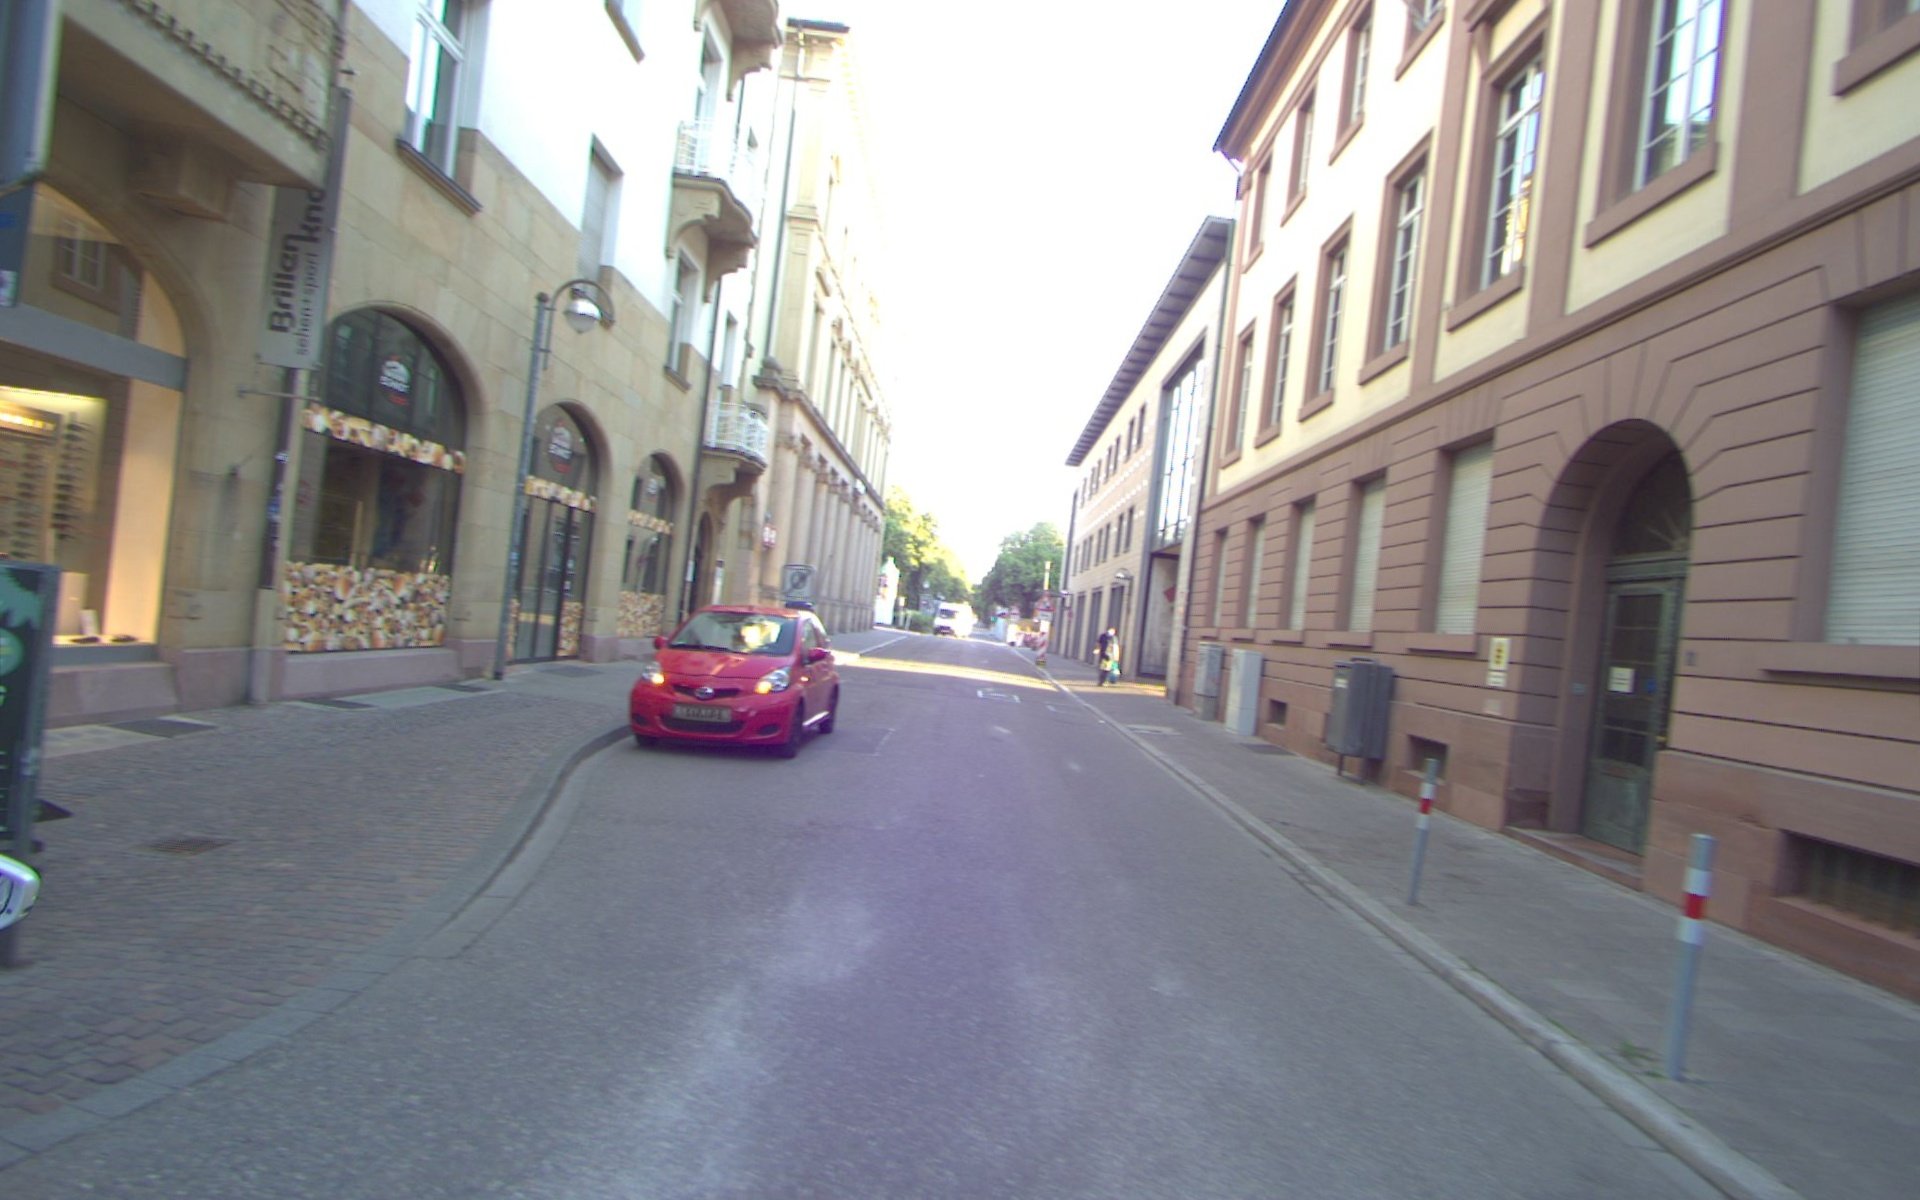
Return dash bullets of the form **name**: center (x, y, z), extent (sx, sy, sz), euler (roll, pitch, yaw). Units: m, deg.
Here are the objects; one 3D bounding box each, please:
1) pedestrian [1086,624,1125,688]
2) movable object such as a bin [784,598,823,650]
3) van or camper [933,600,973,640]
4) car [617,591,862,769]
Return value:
- **pedestrian**: center (4.342, 1.660, 30.096), extent (0.985, 1.825, 0.882), euler (3, -1, 0)
- **movable object such as a bin**: center (-4.942, 0.761, 31.787), extent (0.816, 1.521, 1.291), euler (7, 0, 1)
- **van or camper**: center (-0.487, 1.528, 75.645), extent (2.184, 2.616, 6.375), euler (7, -1, 5)
- **car**: center (-2.190, 0.761, 11.069), extent (1.631, 1.488, 3.933), euler (4, -1, 2)
